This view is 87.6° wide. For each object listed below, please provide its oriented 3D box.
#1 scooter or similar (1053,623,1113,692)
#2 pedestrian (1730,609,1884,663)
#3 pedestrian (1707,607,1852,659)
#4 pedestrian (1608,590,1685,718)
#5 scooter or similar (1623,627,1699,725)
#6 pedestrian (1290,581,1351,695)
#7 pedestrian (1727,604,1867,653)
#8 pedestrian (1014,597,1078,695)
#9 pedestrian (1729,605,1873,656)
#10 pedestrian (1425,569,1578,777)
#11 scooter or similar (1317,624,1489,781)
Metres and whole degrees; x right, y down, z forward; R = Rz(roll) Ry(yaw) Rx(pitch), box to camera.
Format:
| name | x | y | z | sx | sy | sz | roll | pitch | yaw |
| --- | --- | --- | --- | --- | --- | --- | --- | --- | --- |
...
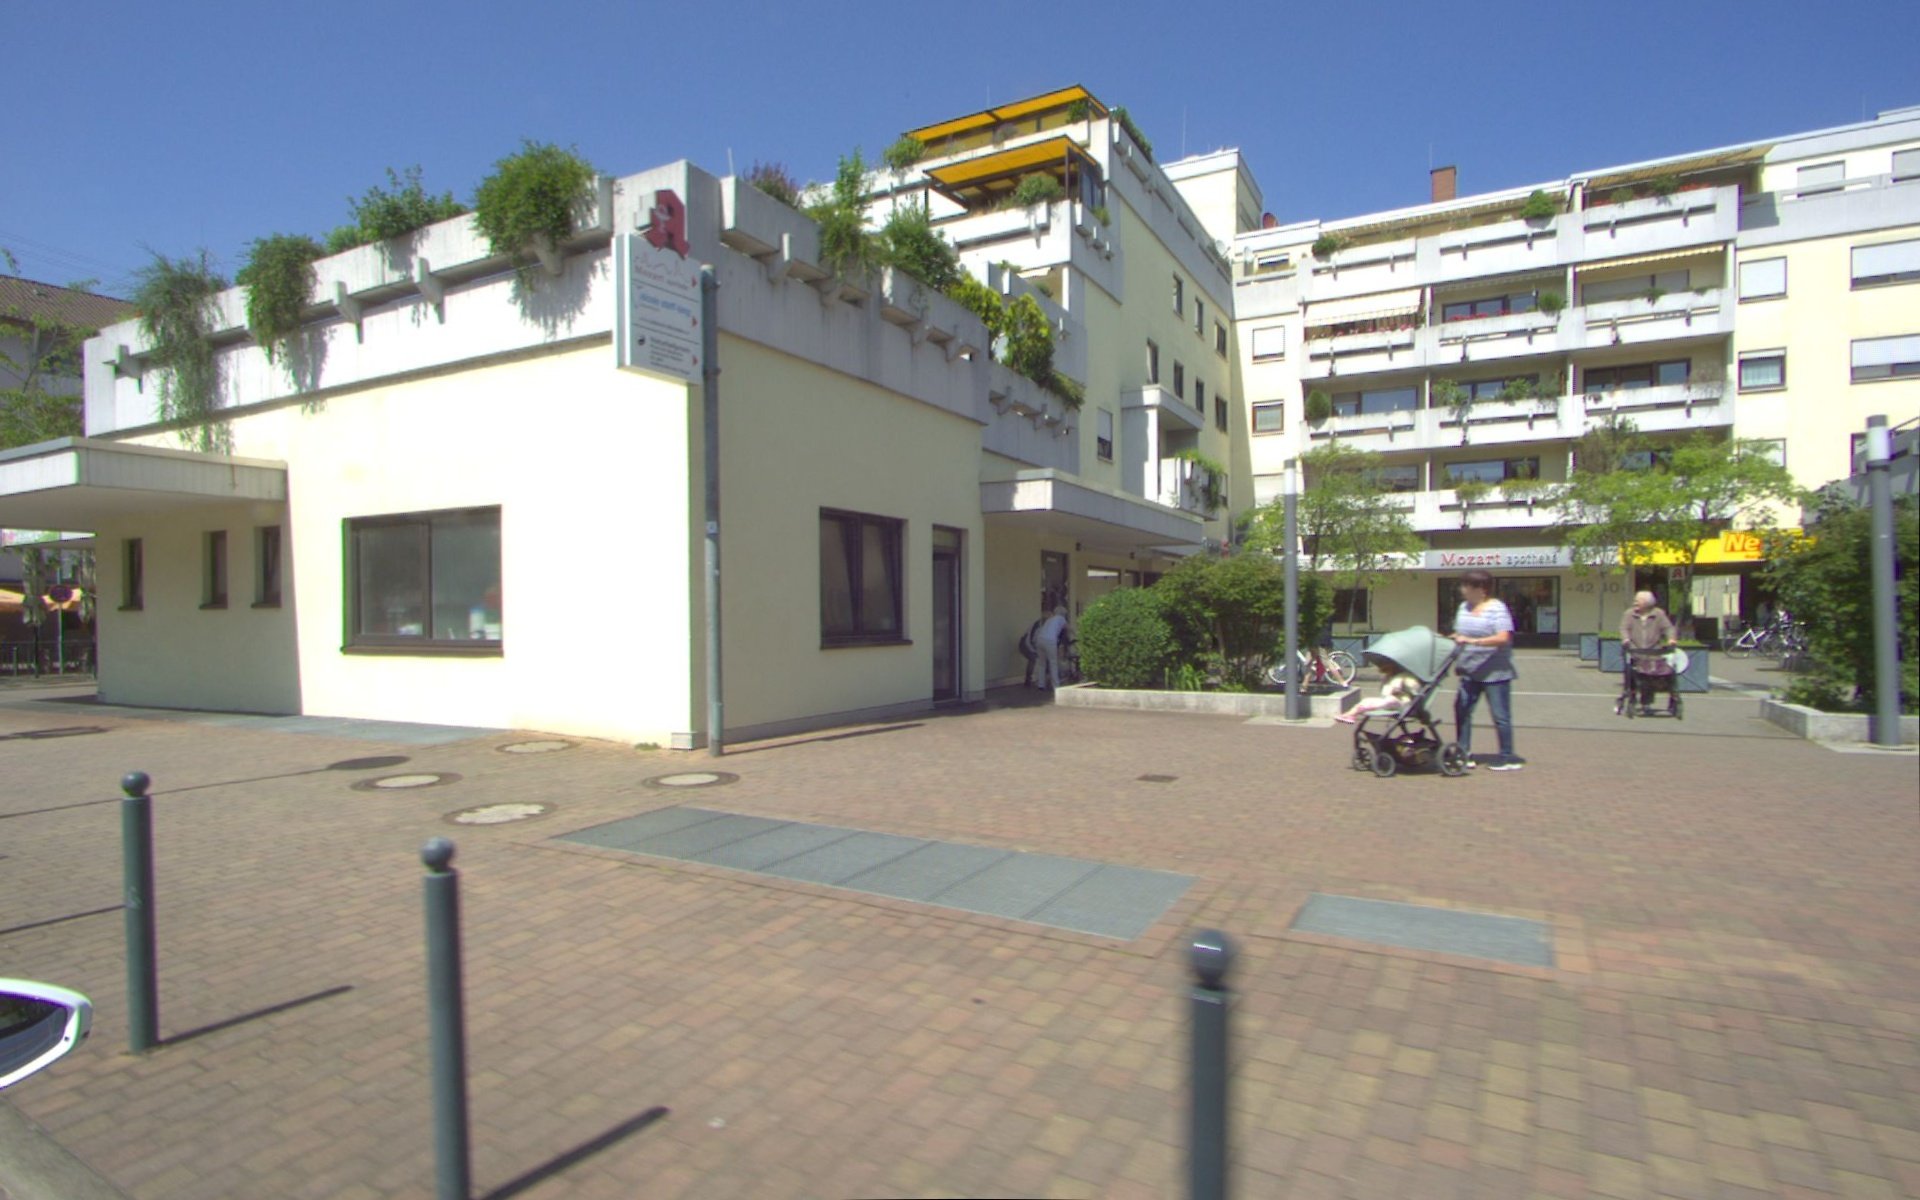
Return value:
| name | x | y | z | sx | sy | sz | roll | pitch | yaw |
| --- | --- | --- | --- | --- | --- | --- | --- | --- | --- |
| scooter or similar | 2.029 | 0.936 | 16.538 | 0.795 | 1.089 | 0.587 | 0 | 0 | -35 |
| pedestrian | 20.976 | 0.879 | 24.879 | 2.730 | 1.290 | 0.984 | -1 | 0 | 24 |
| pedestrian | 21.167 | 0.839 | 25.943 | 2.730 | 1.290 | 0.984 | -1 | 0 | 24 |
| pedestrian | 8.457 | 0.652 | 12.371 | 0.658 | 1.516 | 0.808 | 0 | 0 | 25 |
| scooter or similar | 8.133 | 0.859 | 11.644 | 0.581 | 1.089 | 0.802 | 0 | 0 | 25 |
| pedestrian | 5.718 | 0.593 | 15.864 | 0.887 | 1.759 | 0.702 | 0 | 0 | 22 |
| pedestrian | 22.678 | 0.776 | 27.218 | 2.730 | 1.290 | 0.984 | -1 | 0 | 24 |
| pedestrian | 1.383 | 0.720 | 16.086 | 0.800 | 1.517 | 0.615 | -1 | 0 | -34 |
| pedestrian | 22.200 | 0.807 | 26.522 | 2.730 | 1.290 | 0.984 | -1 | 0 | 24 |
| pedestrian | 4.221 | 0.541 | 7.845 | 0.786 | 1.541 | 0.705 | -1 | 0 | -11 |
| scooter or similar | 3.365 | 0.750 | 7.646 | 1.024 | 1.121 | 0.627 | 0 | 0 | -12 |
